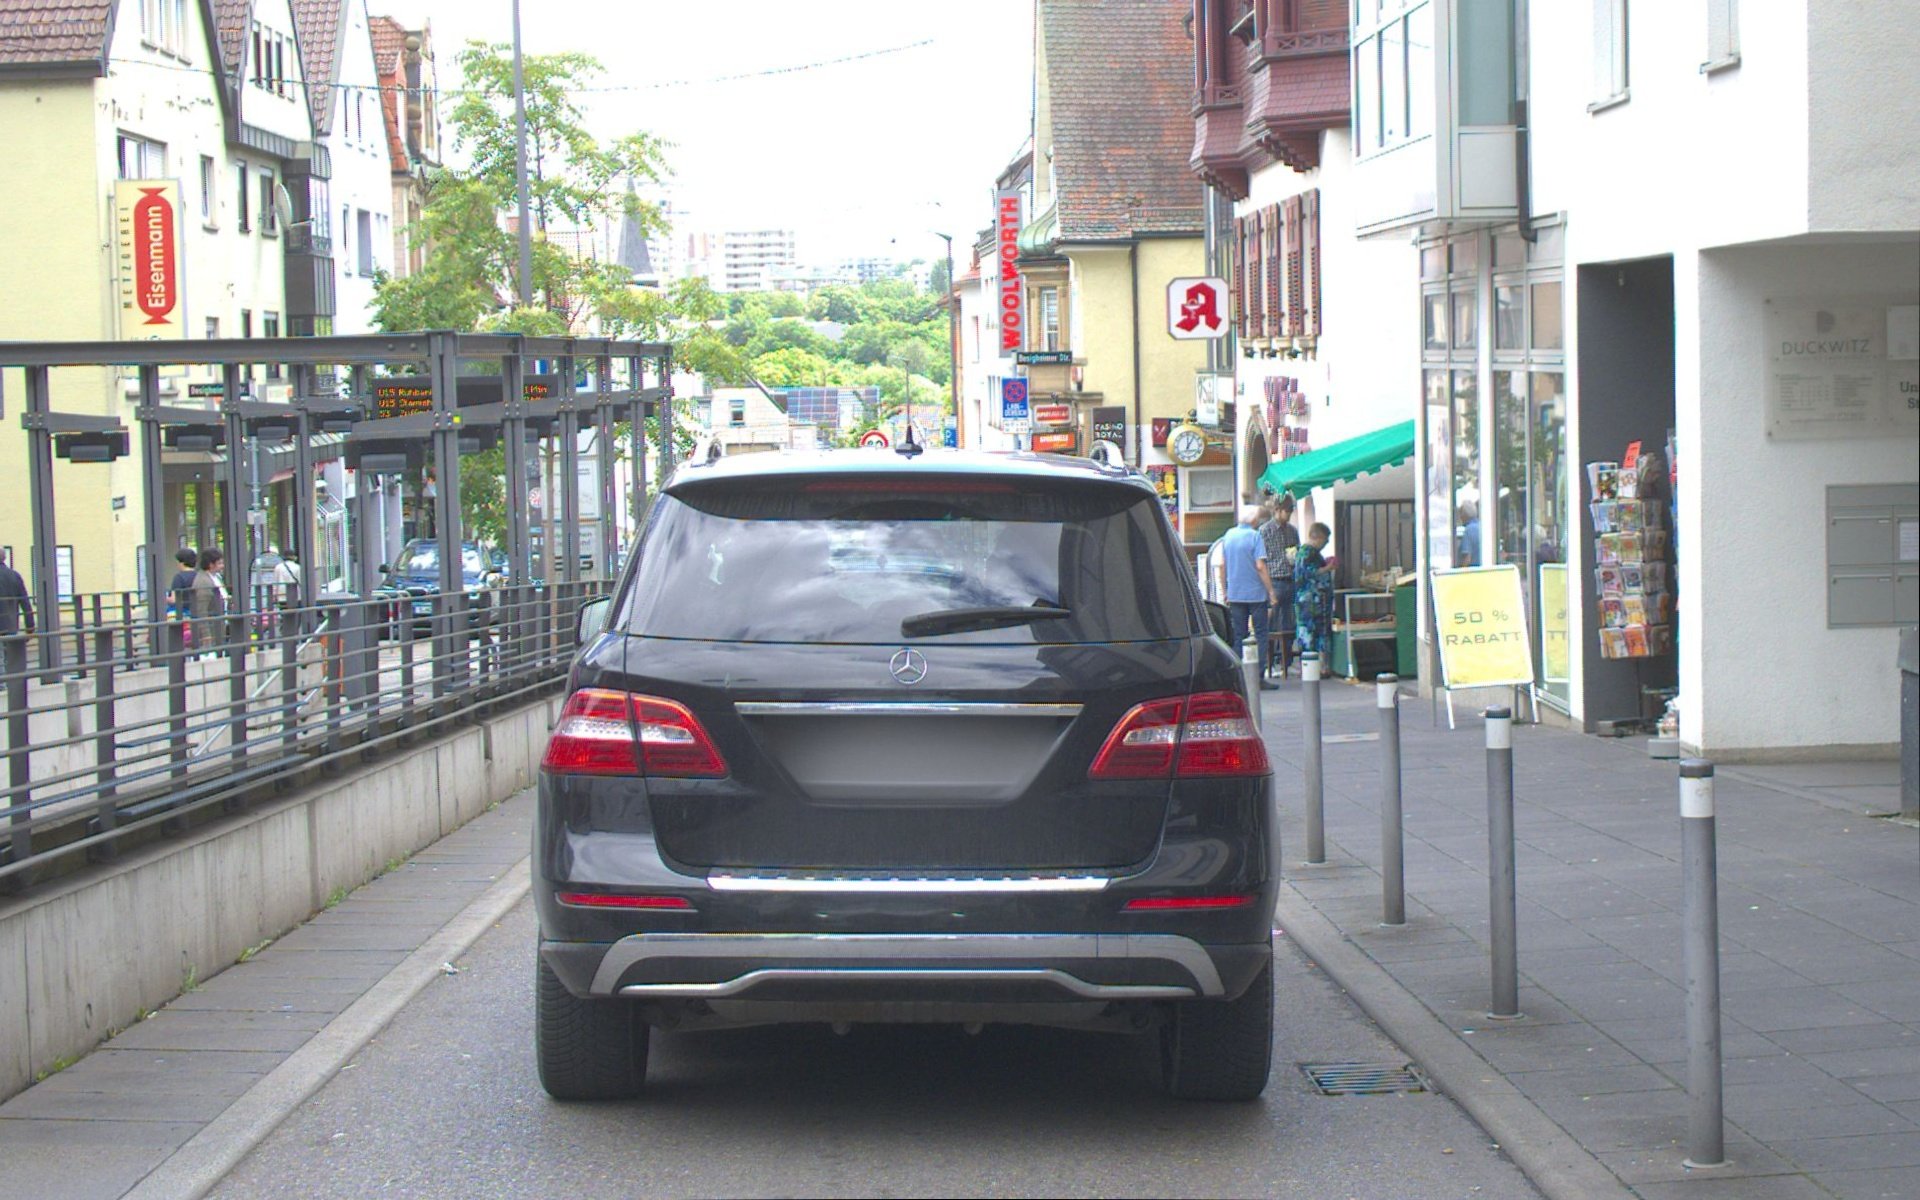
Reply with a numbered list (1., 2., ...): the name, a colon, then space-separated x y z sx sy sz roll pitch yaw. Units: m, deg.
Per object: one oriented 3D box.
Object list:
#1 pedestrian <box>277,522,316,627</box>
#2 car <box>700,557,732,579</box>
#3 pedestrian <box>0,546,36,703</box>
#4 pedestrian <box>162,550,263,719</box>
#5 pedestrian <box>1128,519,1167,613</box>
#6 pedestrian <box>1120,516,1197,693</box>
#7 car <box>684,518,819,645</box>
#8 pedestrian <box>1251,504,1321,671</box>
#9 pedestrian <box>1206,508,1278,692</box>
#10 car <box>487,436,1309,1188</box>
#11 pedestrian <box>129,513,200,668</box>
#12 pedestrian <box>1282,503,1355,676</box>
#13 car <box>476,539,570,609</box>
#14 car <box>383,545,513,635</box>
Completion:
1. pedestrian: -10.735 -0.417 55.624 0.513 1.683 0.541 1 1 -1
2. car: -12.259 -1.607 172.840 1.388 1.066 3.113 -2 1 -1
3. pedestrian: -10.417 0.256 37.273 0.612 1.683 0.563 1 1 2
4. pedestrian: -7.593 0.340 34.929 0.765 1.683 0.727 0 1 -36
5. pedestrian: 3.386 -0.622 62.234 0.606 1.683 0.724 -2 1 -1
6. pedestrian: 1.911 0.038 33.174 0.621 1.683 0.566 1 1 -7
7. car: -2.937 -0.289 49.123 1.770 1.707 4.000 1 1 -1
8. pedestrian: 3.324 -0.132 35.060 0.573 1.683 0.566 -1 1 -7
9. pedestrian: 2.689 -0.005 32.778 0.542 1.720 0.528 -2 1 -7
10. car: -0.239 0.466 10.029 1.900 1.741 4.001 1 1 -3
11. pedestrian: -8.742 -0.112 37.805 0.625 1.683 0.679 1 1 -1
12. pedestrian: 3.553 -0.111 34.078 0.573 1.683 0.566 -1 1 -7
13. car: -9.705 -0.595 76.511 1.660 1.484 3.748 1 1 -1
14. car: -8.797 -0.200 59.279 1.689 1.484 3.979 1 1 -1
